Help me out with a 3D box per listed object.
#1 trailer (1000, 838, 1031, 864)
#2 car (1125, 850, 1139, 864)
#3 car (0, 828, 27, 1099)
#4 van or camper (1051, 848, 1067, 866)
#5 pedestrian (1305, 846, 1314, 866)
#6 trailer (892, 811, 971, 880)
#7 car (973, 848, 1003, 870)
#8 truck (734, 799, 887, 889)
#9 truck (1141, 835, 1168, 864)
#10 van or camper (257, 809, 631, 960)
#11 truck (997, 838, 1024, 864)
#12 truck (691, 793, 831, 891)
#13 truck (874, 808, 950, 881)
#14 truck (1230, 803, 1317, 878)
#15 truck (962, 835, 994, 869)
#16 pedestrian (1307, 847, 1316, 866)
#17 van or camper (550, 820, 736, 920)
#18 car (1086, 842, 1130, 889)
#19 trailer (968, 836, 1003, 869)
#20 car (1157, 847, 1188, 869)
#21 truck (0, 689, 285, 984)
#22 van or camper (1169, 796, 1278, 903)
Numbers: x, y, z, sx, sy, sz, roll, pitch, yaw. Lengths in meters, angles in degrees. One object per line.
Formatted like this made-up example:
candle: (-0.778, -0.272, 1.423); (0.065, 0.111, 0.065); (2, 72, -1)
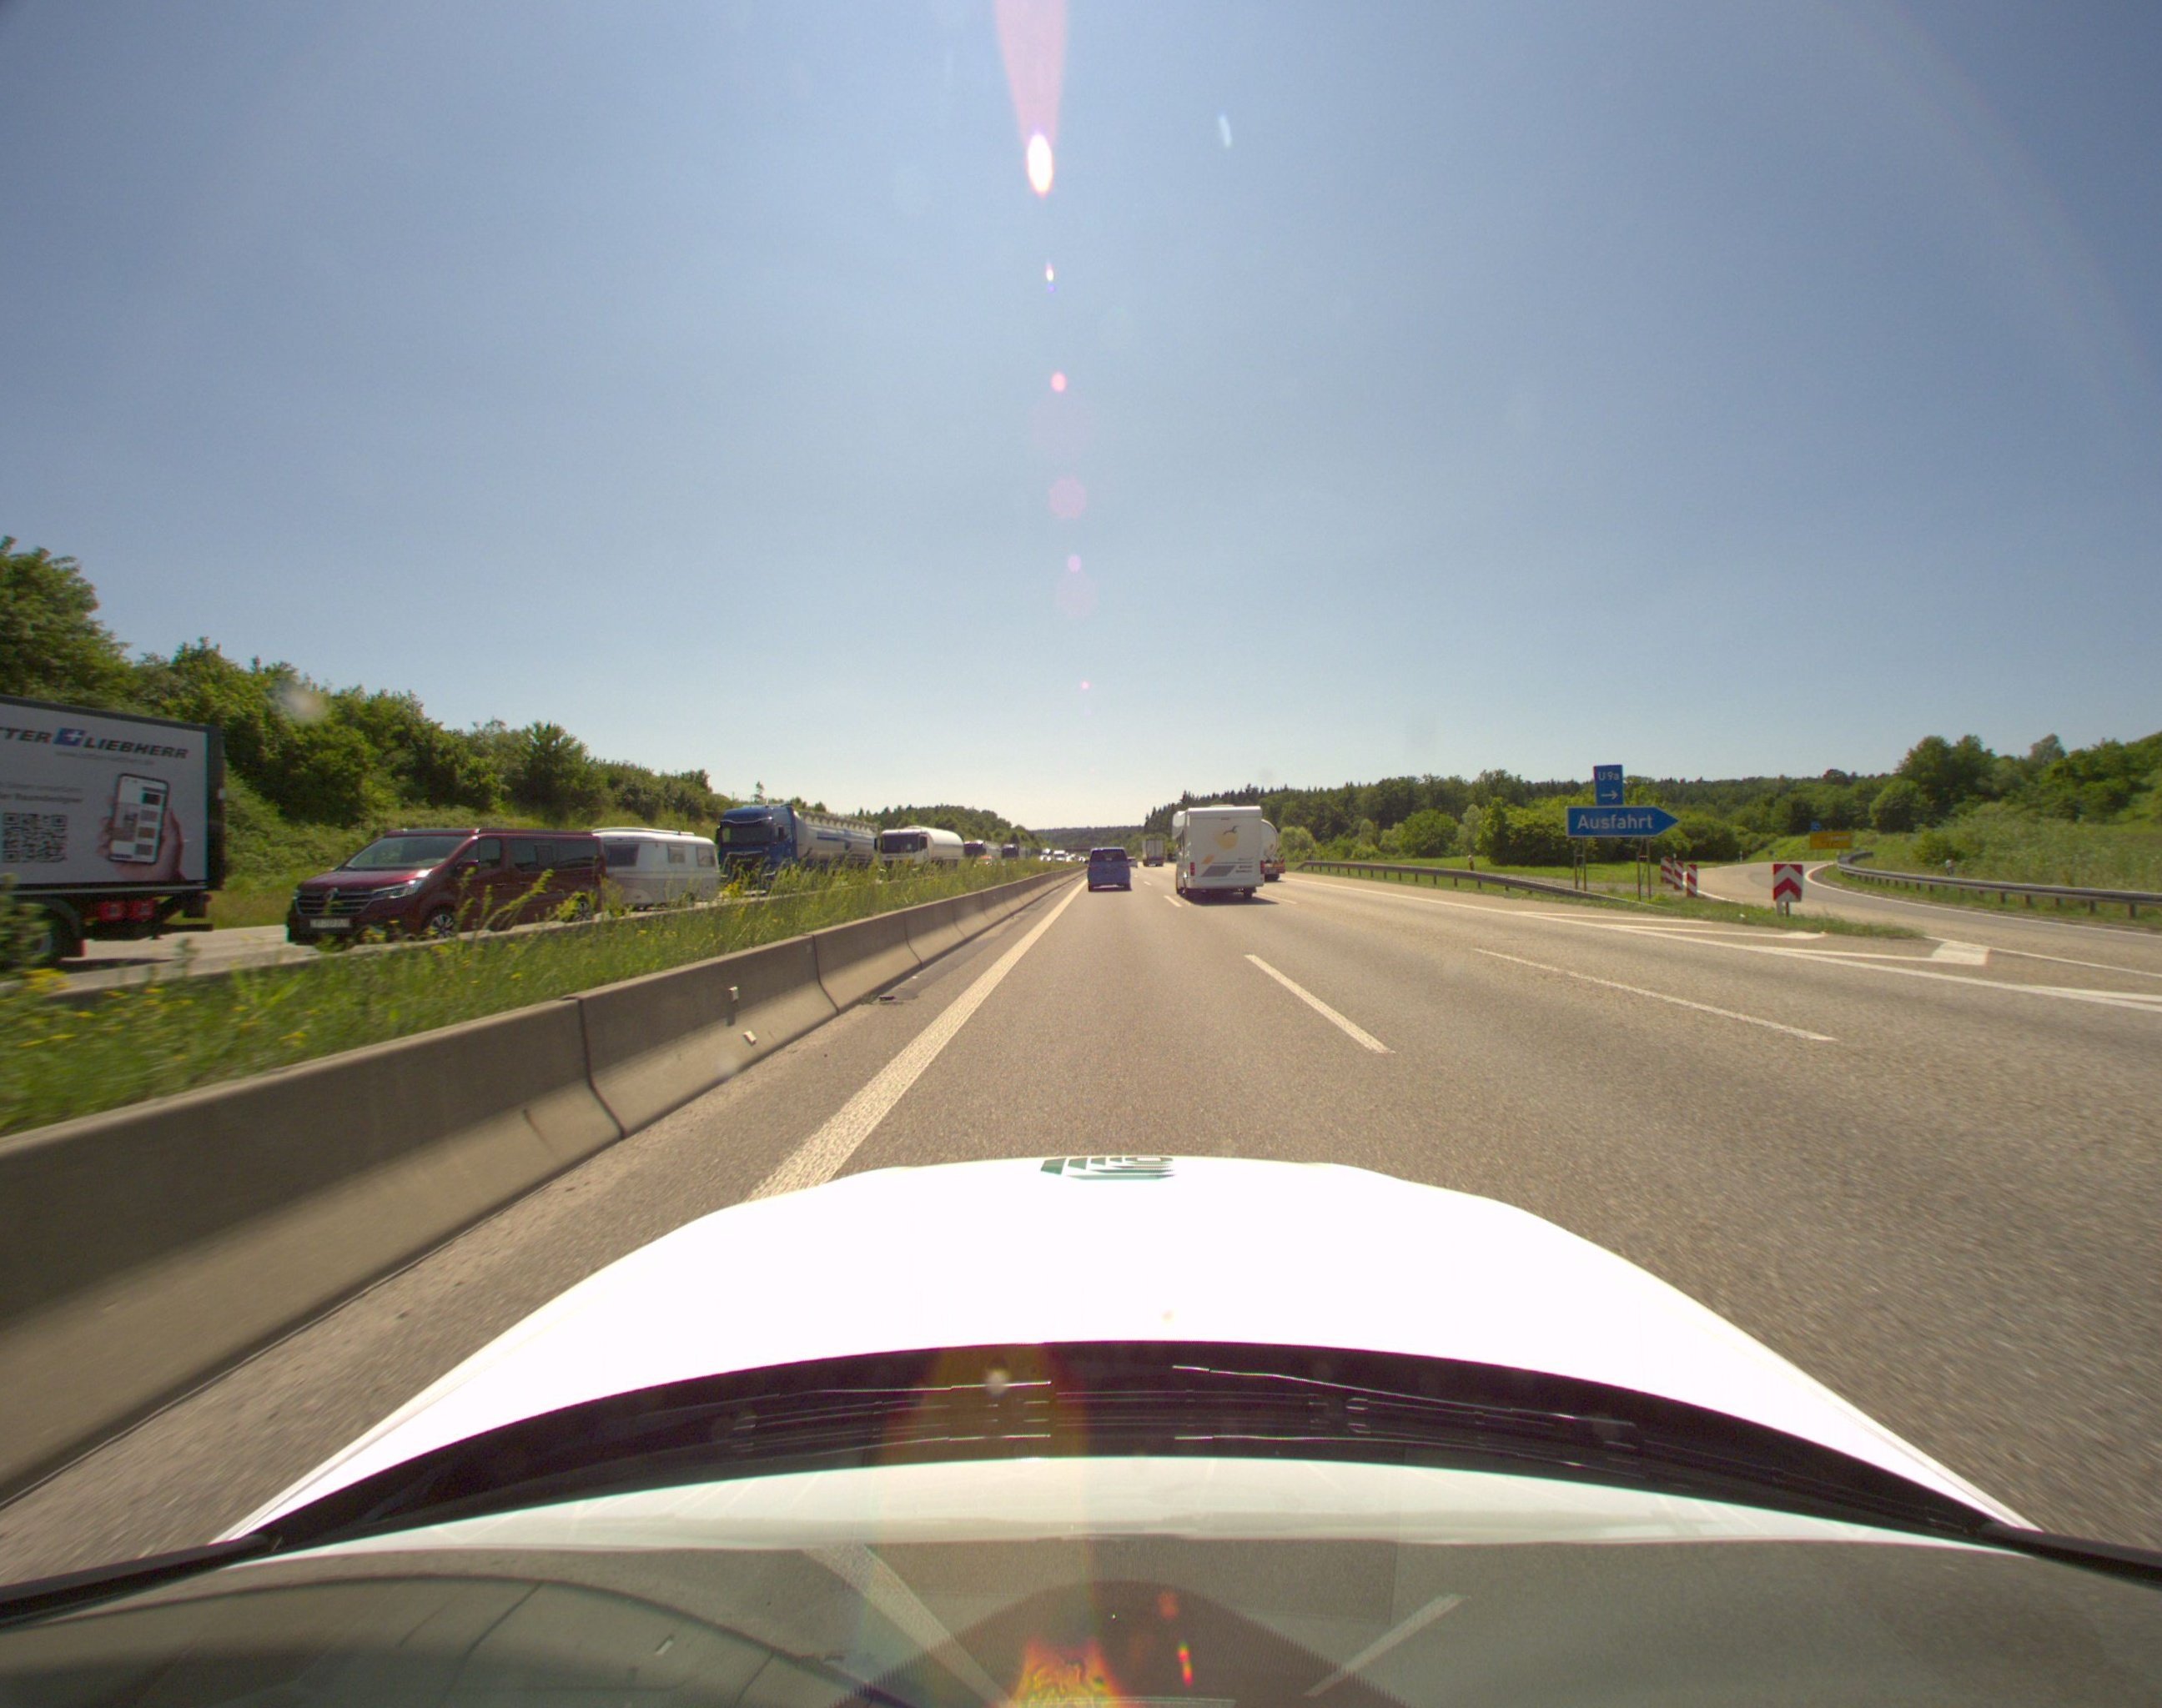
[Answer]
trailer: (-10.690, -0.482, 133.641); (3.565, 4.093, 11.543); (-2, 0, 2)
car: (7.156, 0.424, 113.628); (1.811, 1.794, 3.896); (1, -1, 2)
car: (-7.258, 0.625, 2.448); (1.747, 1.584, 4.856); (0, -1, 2)
van or camper: (-3.498, 0.461, 132.044); (1.985, 2.877, 7.645); (1, -1, 2)
pedestrian: (24.224, 0.232, 86.367); (0.685, 2.080, 0.928); (1, -1, 2)
trailer: (-9.551, -0.396, 53.592); (2.670, 3.950, 11.647); (-3, -1, 1)
car: (-8.818, 0.475, 77.487); (2.078, 2.063, 5.061); (0, 0, 2)
truck: (-13.970, -0.476, 43.801); (3.564, 4.093, 12.585); (0, 0, 2)
truck: (10.875, -0.570, 121.247); (3.474, 4.170, 8.645); (1, -1, 2)
van or camper: (-10.959, 0.471, 14.880); (1.986, 2.153, 5.957); (-2, -1, 1)
truck: (-10.941, -0.414, 127.298); (3.441, 3.877, 5.448); (1, -1, 2)
truck: (-14.214, -0.470, 36.944); (3.477, 4.037, 6.646); (1, -1, 2)
truck: (-9.692, -0.470, 47.515); (2.608, 3.890, 7.405); (-1, -1, 2)
truck: (10.098, -0.690, 43.730); (2.916, 3.575, 8.531); (-1, 1, 2)
truck: (-12.111, -0.159, 96.366); (2.682, 3.879, 6.319); (0, -1, 2)
pedestrian: (25.121, 0.261, 88.665); (0.685, 2.080, 0.928); (1, -1, 2)
van or camper: (-10.791, 0.377, 20.560); (1.986, 2.153, 4.719); (-2, -1, 1)
car: (1.224, 0.508, 36.839); (1.902, 2.014, 4.002); (0, -1, 2)
trailer: (-11.979, -0.153, 103.394); (2.670, 3.950, 13.246); (1, 0, 1)
car: (6.747, 0.297, 60.329); (1.902, 1.475, 4.002); (-2, -1, 2)
truck: (-14.800, -0.219, 8.701); (2.535, 3.675, 9.942); (0, -1, 2)
van or camper: (4.601, -0.136, 27.715); (2.593, 3.078, 7.185); (-1, 0, 2)
